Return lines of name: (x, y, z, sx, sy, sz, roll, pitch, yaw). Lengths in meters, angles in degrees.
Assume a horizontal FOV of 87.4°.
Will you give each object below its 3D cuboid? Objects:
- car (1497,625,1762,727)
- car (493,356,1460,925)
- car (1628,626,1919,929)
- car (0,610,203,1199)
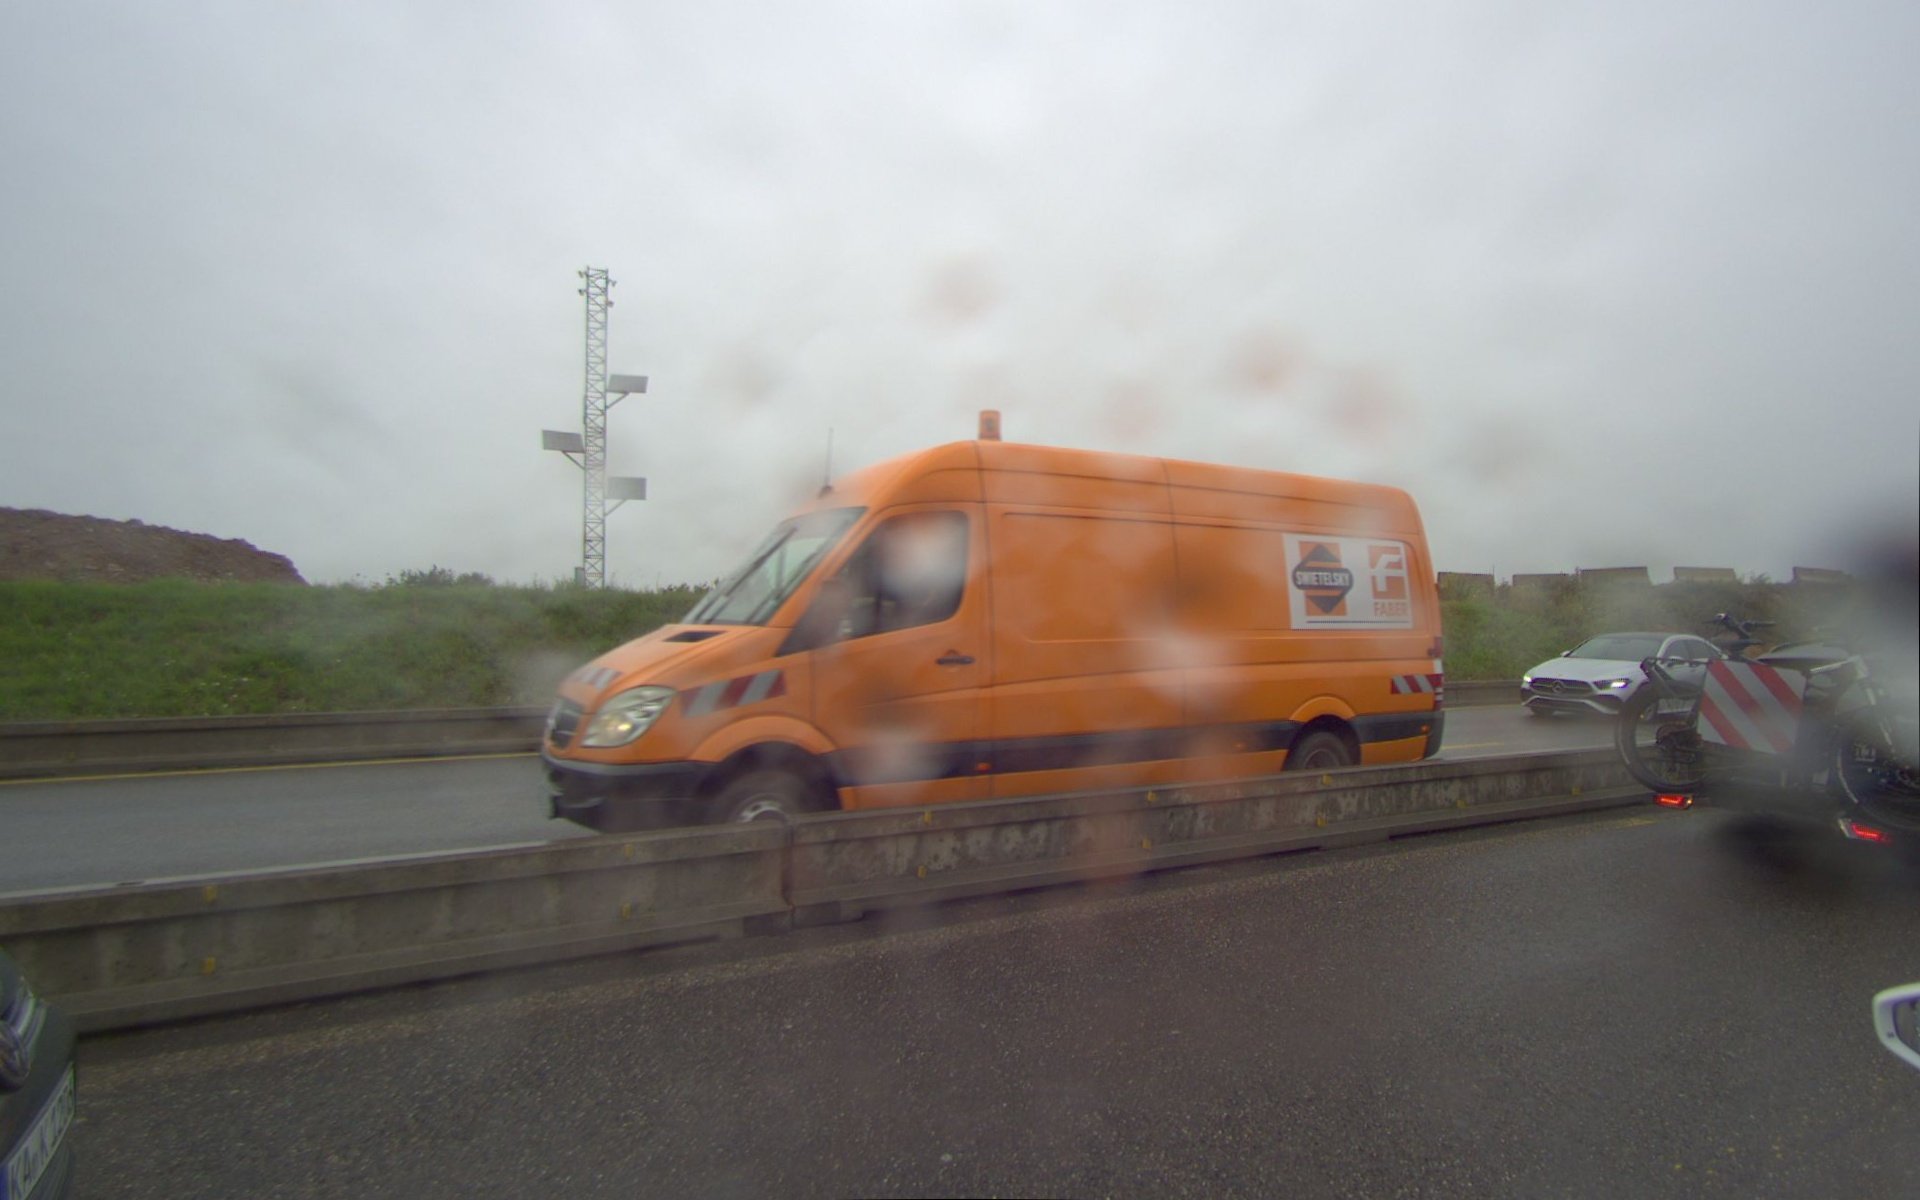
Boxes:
car: (11.596, 1.235, 17.352, 4.480, 1.521, 1.985, 2, -1, -29)
car: (0.540, 0.246, 7.261, 6.938, 2.611, 2.044, 1, 0, -30)
car: (7.146, 0.965, 7.083, 5.560, 1.482, 1.727, 0, 0, -29)
car: (-3.343, 0.678, 0.892, 4.033, 1.441, 1.641, 2, -2, -31)
